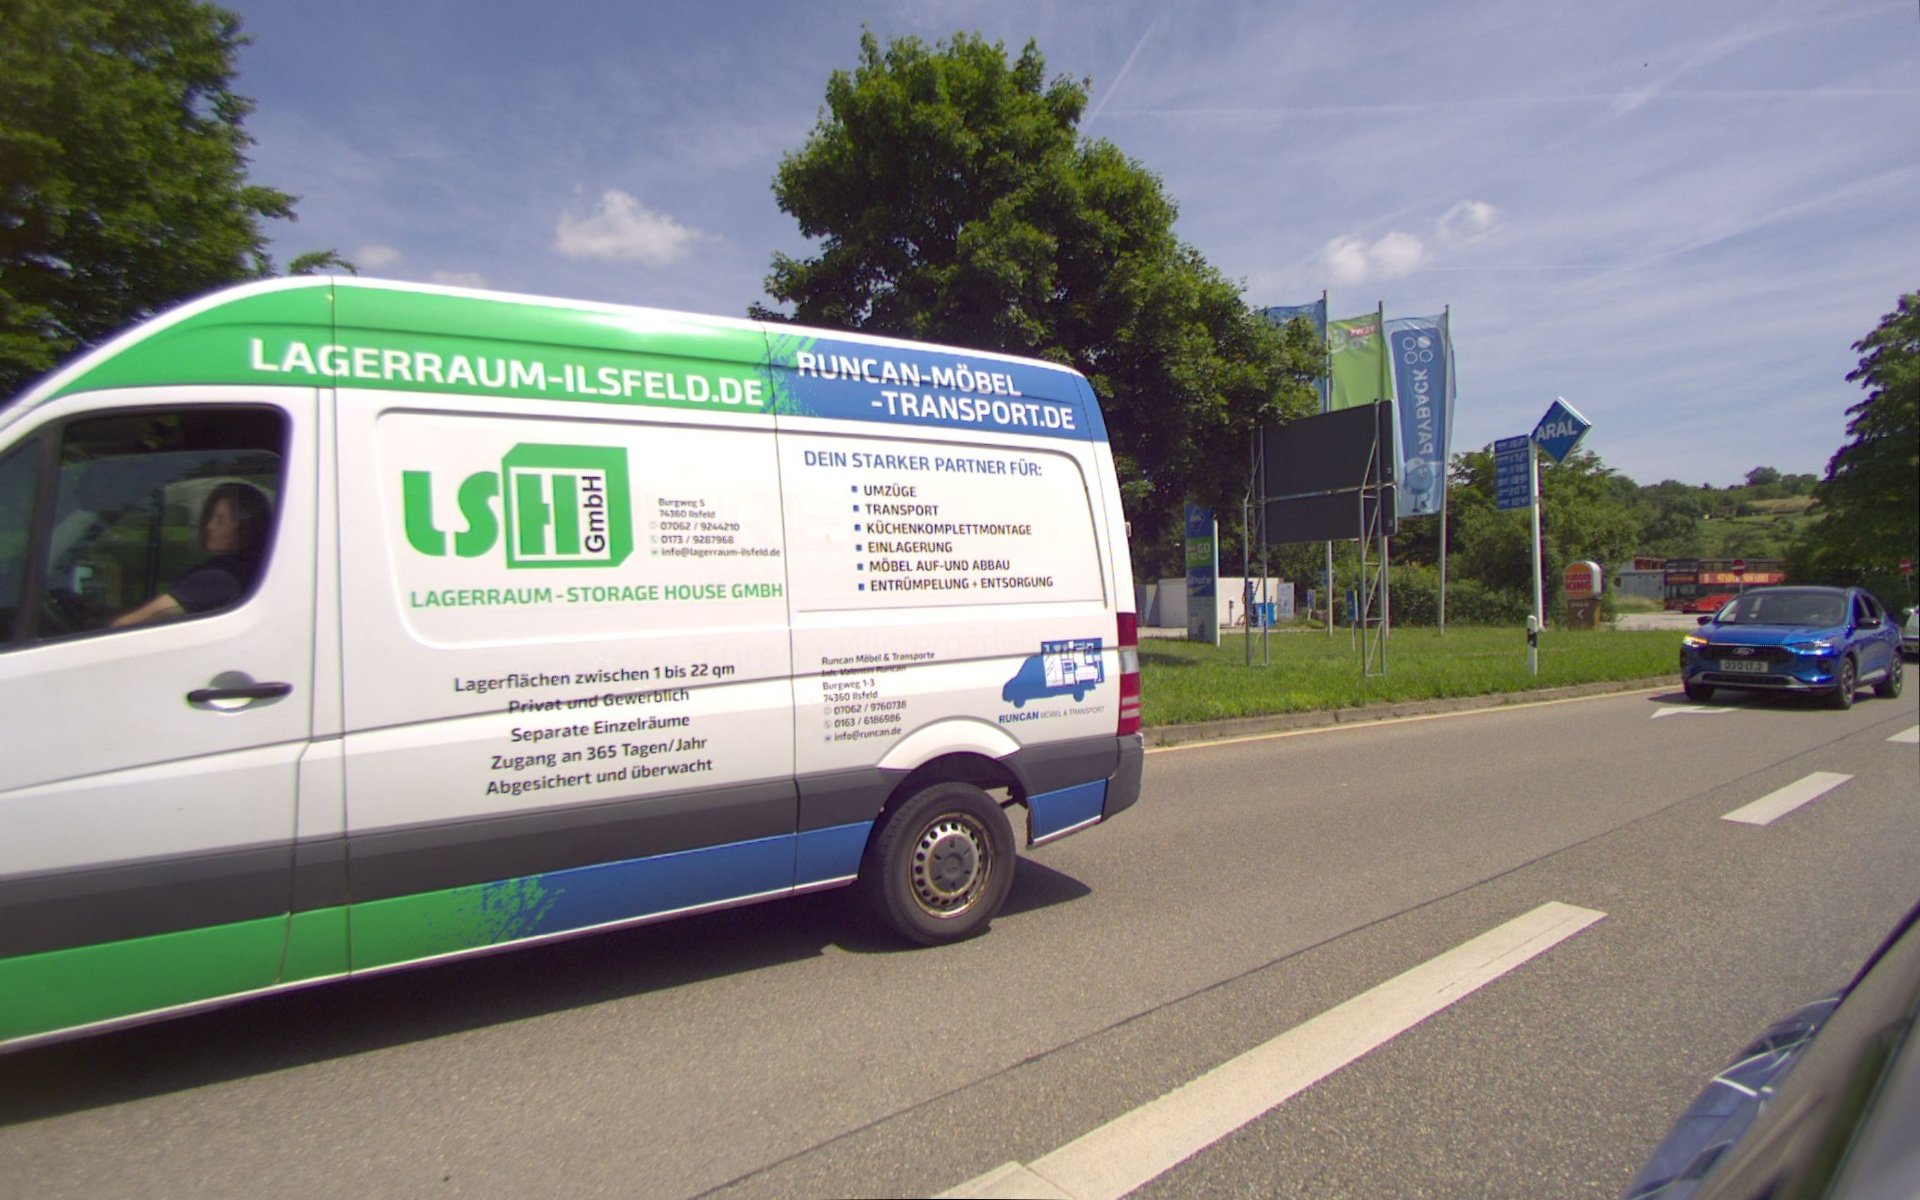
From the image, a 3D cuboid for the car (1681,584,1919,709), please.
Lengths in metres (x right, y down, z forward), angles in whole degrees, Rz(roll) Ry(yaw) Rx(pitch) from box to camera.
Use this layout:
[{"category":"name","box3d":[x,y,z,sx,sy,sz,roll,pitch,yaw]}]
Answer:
[{"category":"car","box3d":[12.453,0.574,14.864,4.306,1.578,1.784,0,0,-36]}]

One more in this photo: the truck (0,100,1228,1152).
[{"category":"truck","box3d":[-1.702,0.100,4.402,5.825,2.773,2.074,1,-3,-32]}]

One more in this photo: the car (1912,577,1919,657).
[{"category":"car","box3d":[22.931,0.325,22.514,4.443,1.713,1.866,-1,1,-37]}]
